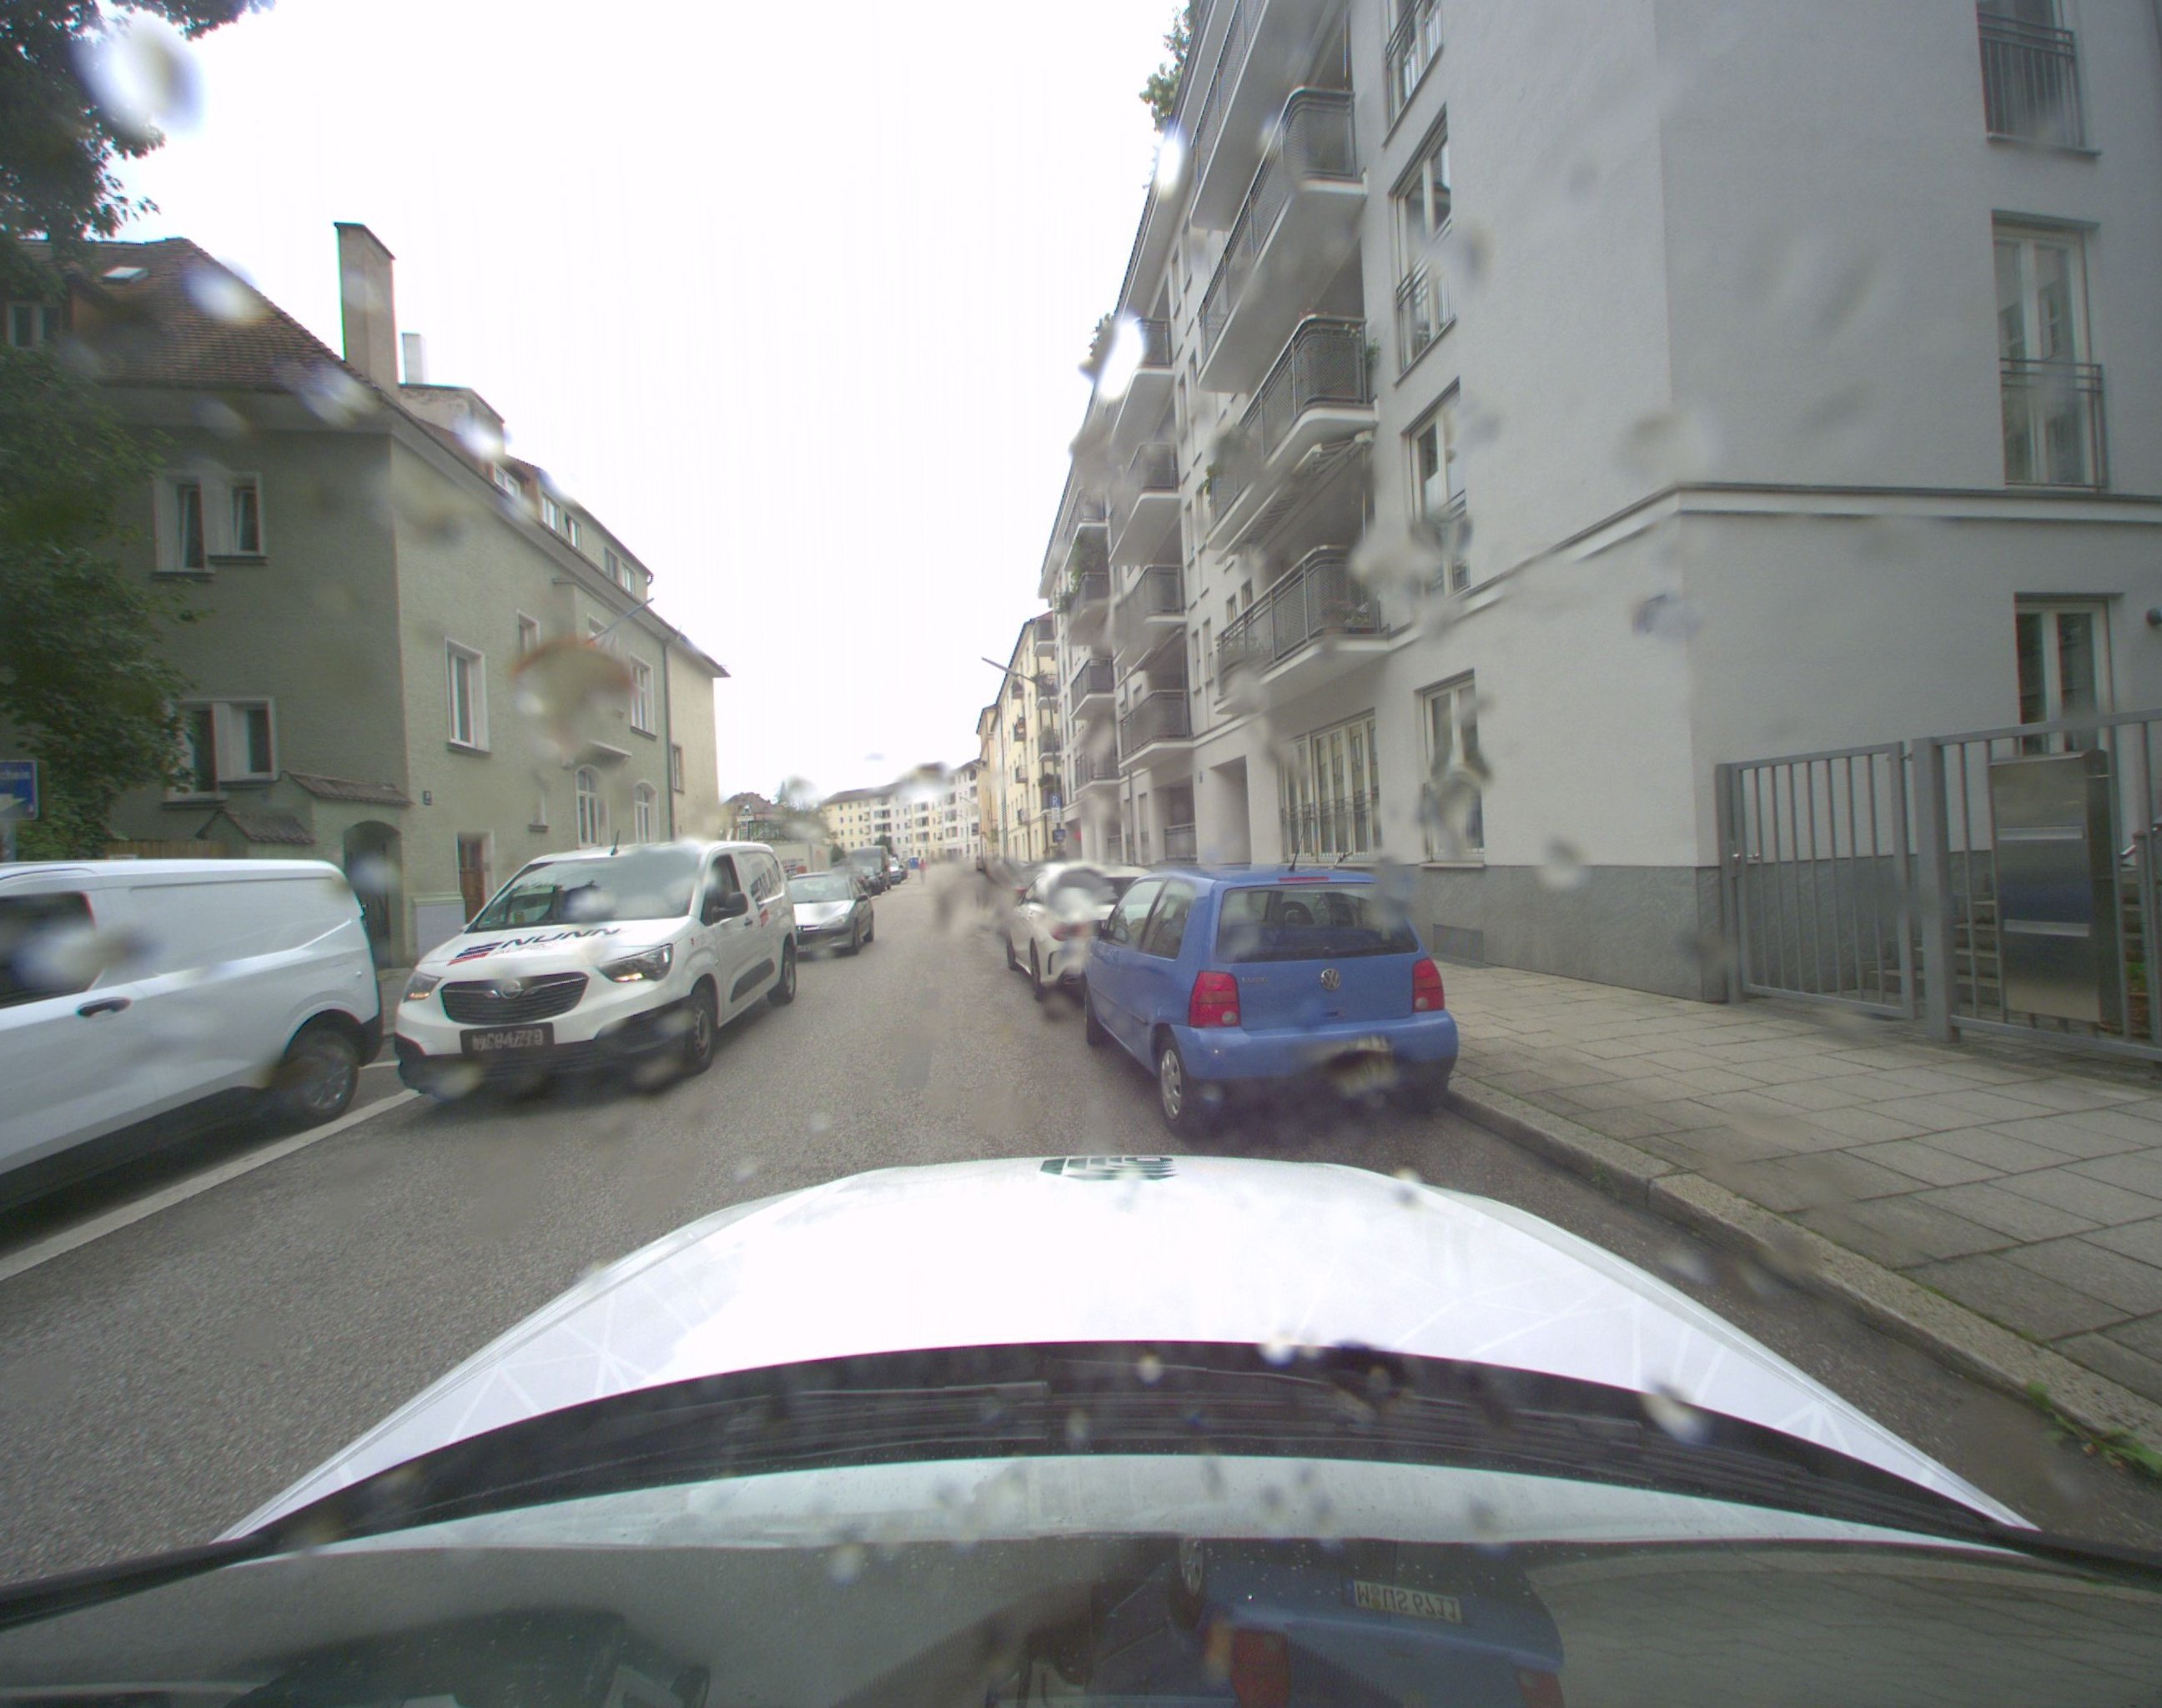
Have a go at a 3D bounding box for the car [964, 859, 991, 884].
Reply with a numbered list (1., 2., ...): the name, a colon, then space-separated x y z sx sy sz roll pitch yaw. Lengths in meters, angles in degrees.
1. car: -7.039 1.163 55.054 1.595 1.509 3.788 -3 0 -9

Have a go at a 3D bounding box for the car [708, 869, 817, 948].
1. car: -7.796 1.257 20.287 1.687 1.603 3.907 -5 0 -10

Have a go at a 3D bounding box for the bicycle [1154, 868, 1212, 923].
1. bicycle: 2.339 0.936 18.950 0.627 1.160 2.119 -3 0 -11

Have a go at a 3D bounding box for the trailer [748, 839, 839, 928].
1. trailer: -9.022 0.853 25.922 1.708 2.461 4.374 -5 0 -8

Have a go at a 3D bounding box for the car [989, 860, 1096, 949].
1. car: -0.894 0.897 16.262 1.604 1.530 3.969 0 -1 -11

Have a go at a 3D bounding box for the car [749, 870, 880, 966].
1. car: -4.673 1.047 14.723 1.580 1.411 3.602 -3 -1 -8

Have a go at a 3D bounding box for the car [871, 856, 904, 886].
1. car: -14.355 1.228 60.556 1.882 1.931 4.586 -5 1 -9

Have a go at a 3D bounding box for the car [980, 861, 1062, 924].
1. car: -1.750 0.957 22.288 1.734 1.530 4.604 0 -1 -11

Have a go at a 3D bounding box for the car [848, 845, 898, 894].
1. car: -12.173 0.864 48.014 2.087 2.636 5.362 -3 0 -8

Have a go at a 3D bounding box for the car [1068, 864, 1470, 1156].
1. car: 0.959 0.794 5.890 1.618 1.412 3.542 -1 -1 -9

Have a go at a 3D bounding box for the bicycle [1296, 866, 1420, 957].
1. bicycle: 3.537 0.714 10.582 0.677 1.028 1.828 -3 -2 -10

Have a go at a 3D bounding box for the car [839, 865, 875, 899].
1. car: -11.476 1.383 41.961 1.588 1.538 3.527 -4 1 -14

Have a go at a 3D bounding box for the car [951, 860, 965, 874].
1. car: -15.014 1.617 99.474 1.474 1.641 3.986 -1 0 -11

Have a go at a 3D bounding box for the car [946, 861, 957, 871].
1. car: -17.521 1.643 110.331 1.272 1.299 2.787 -2 0 -11

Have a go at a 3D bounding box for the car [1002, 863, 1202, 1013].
1. car: 0.029 0.836 10.139 1.658 1.440 4.191 0 -1 -11

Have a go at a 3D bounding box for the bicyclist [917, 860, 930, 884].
1. bicyclist: -10.593 1.192 54.664 0.693 1.561 0.964 -4 0 -7

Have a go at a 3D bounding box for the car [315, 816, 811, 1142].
1. car: -3.858 0.763 7.197 1.770 1.803 4.561 -4 0 -7

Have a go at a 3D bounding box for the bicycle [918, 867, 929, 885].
1. bicycle: -10.577 1.470 54.656 0.504 1.128 1.769 -4 0 -7

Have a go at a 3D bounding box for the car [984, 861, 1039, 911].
1. car: -2.396 1.024 27.577 1.519 1.530 3.514 -1 0 -10

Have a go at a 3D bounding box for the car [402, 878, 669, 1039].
1. car: -6.468 1.119 10.088 1.474 1.466 3.301 -4 0 -11

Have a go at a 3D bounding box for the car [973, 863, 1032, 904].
1. car: -3.106 1.104 31.583 1.765 1.408 4.061 -2 -1 -12

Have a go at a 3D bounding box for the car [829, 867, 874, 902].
1. car: -10.654 1.379 37.988 1.702 1.445 3.809 -2 1 -12

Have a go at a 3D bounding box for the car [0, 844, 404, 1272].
1. car: -5.532 0.926 3.814 1.690 1.803 4.130 -4 0 -10
